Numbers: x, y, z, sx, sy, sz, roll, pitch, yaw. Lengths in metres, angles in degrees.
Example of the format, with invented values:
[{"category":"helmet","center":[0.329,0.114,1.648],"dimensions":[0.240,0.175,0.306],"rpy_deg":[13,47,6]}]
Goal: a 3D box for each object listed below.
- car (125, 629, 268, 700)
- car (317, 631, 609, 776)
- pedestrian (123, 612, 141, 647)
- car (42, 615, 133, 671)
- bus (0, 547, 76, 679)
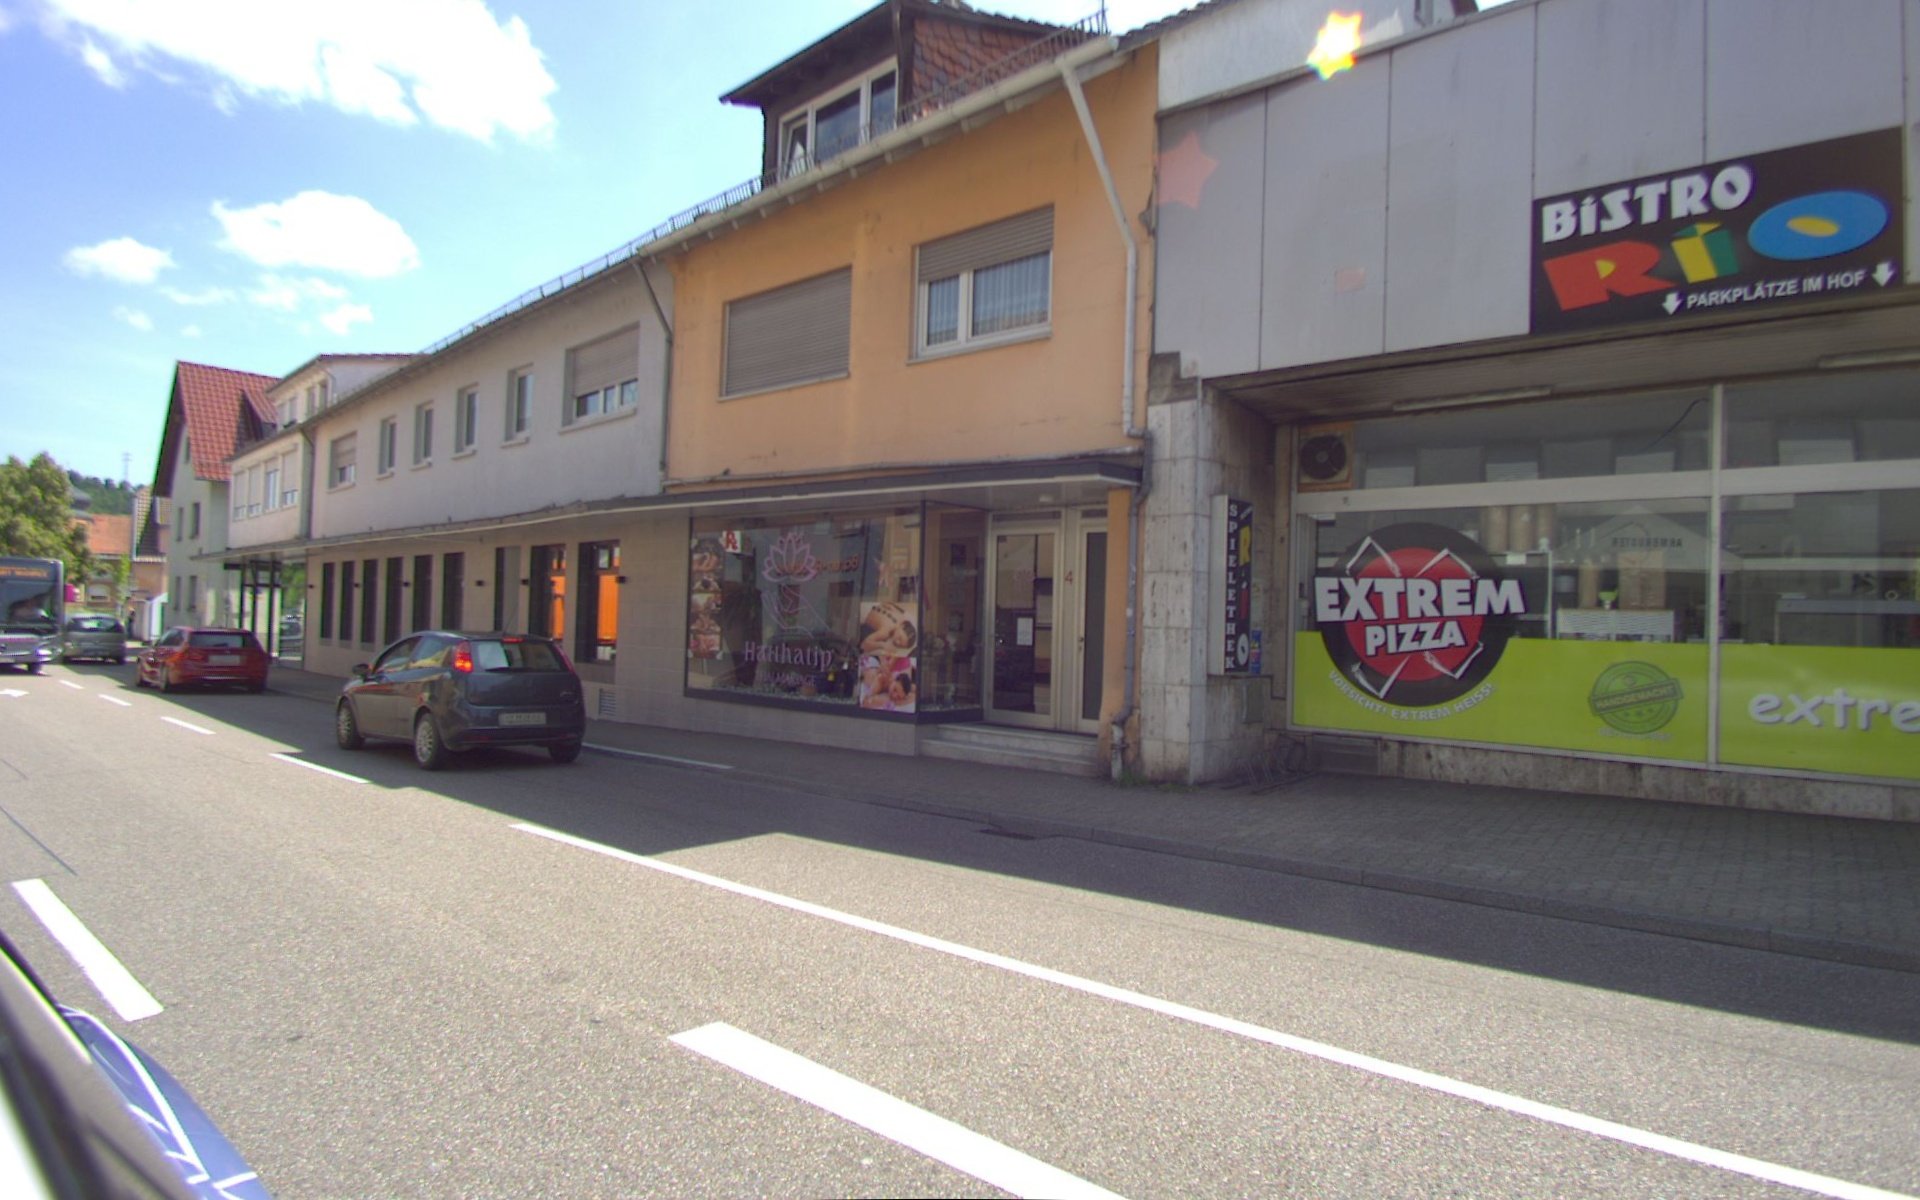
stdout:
[{"category":"car","center":[-16.875,1.400,22.307],"dimensions":[4.284,1.419,1.699],"rpy_deg":[-2,-6,43]},{"category":"car","center":[-5.933,1.126,11.914],"dimensions":[3.818,1.434,1.699],"rpy_deg":[-2,-5,41]},{"category":"pedestrian","center":[-42.267,1.488,51.683],"dimensions":[0.475,1.777,0.468],"rpy_deg":[1,-2,21]},{"category":"car","center":[-28.503,1.417,33.046],"dimensions":[3.820,1.629,1.661],"rpy_deg":[-2,-7,42]},{"category":"bus","center":[-30.863,0.482,30.749],"dimensions":[19.011,3.229,2.824],"rpy_deg":[-1,-2,39]}]
